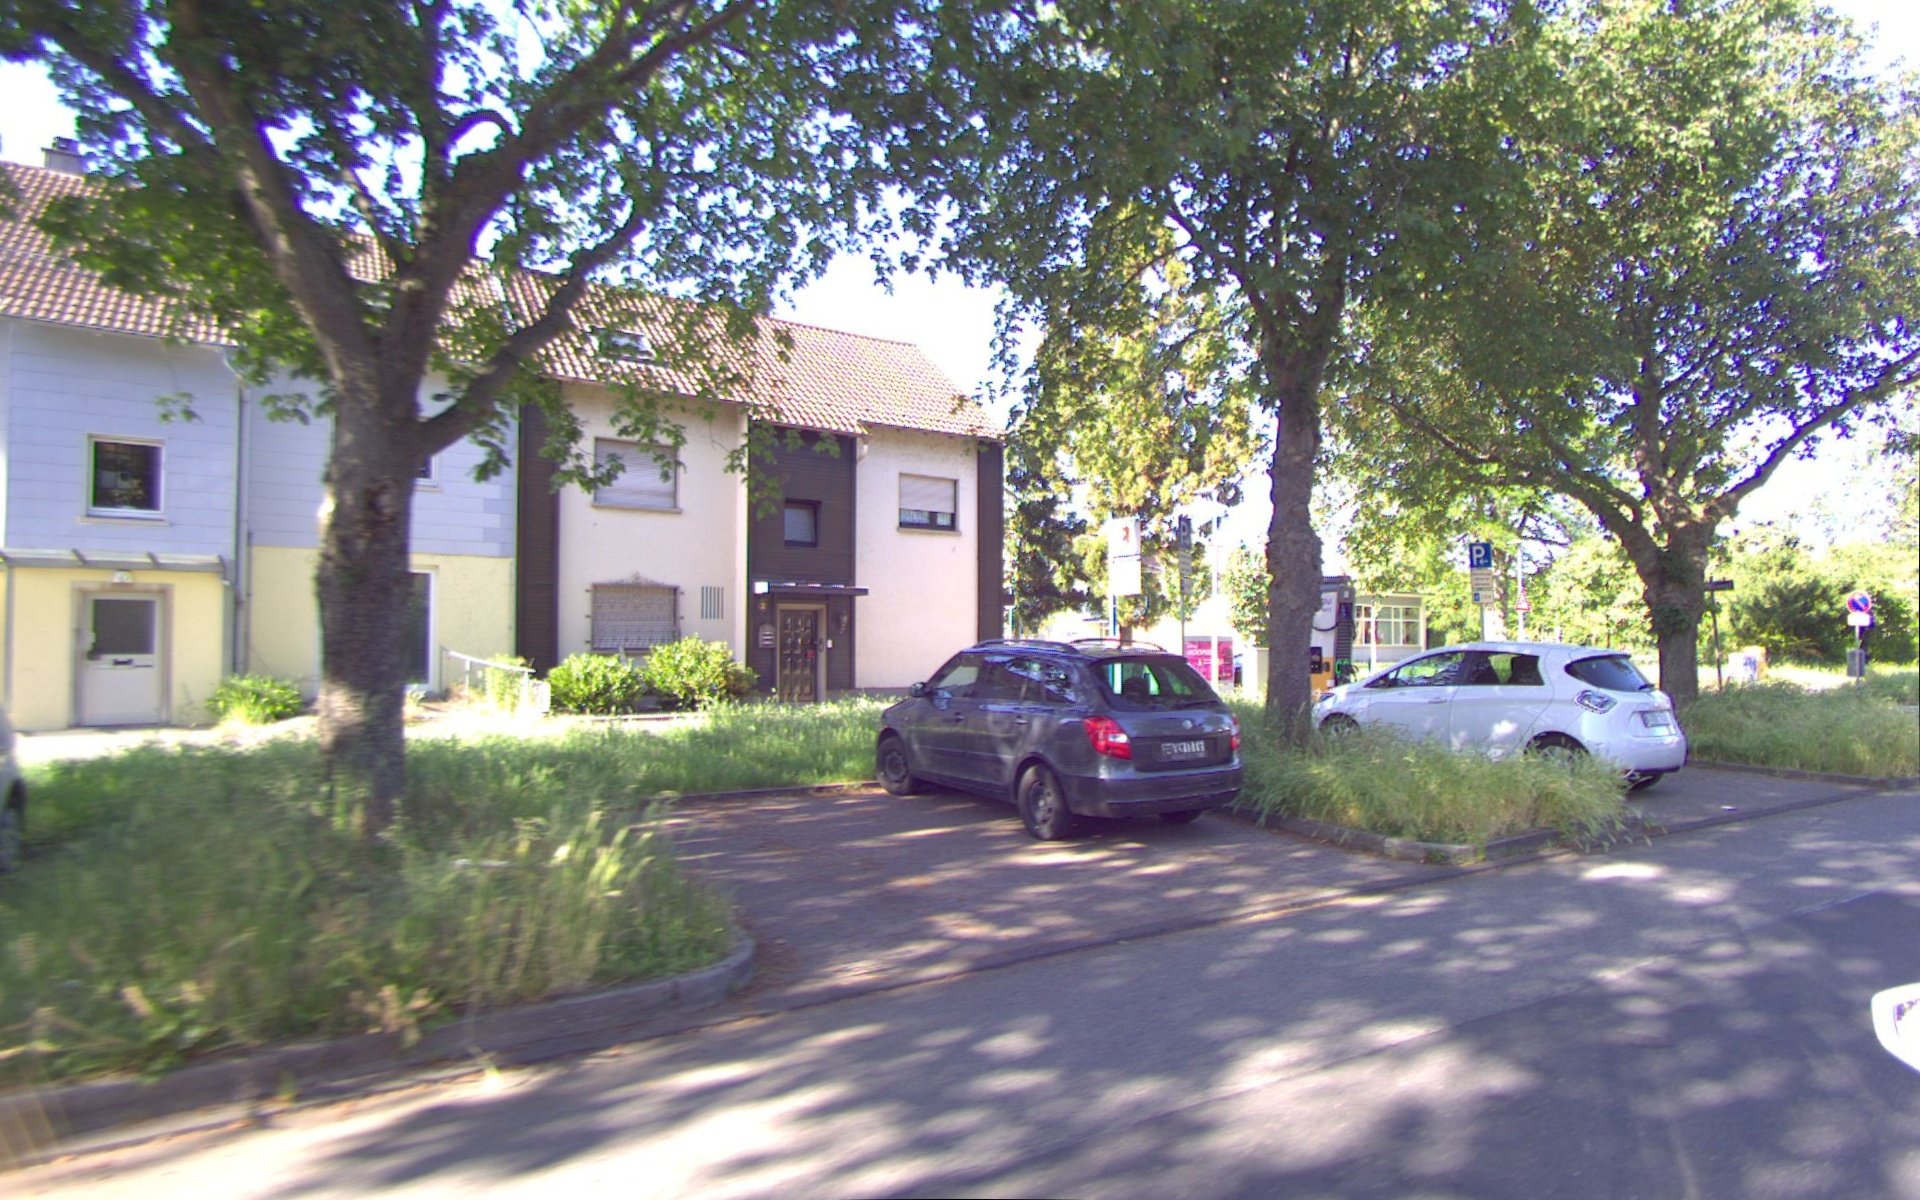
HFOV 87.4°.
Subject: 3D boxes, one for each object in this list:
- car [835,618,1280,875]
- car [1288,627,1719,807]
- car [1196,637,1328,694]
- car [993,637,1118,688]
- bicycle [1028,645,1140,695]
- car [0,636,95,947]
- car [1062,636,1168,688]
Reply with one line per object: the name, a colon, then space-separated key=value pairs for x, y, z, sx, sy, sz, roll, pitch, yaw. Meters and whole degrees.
car: x=0.628 y=1.064 z=9.079 sx=1.978 sy=1.610 sz=3.965 roll=2 pitch=0 yaw=-32
car: x=6.036 y=1.163 z=11.622 sx=1.945 sy=1.682 sz=3.966 roll=1 pitch=-2 yaw=-32
car: x=9.719 y=2.072 z=32.622 sx=1.801 sy=1.737 sz=3.967 roll=2 pitch=-2 yaw=-31
car: x=3.125 y=2.034 z=33.498 sx=1.982 sy=1.385 sz=3.956 roll=2 pitch=0 yaw=-38
bicycle: x=3.291 y=1.775 z=26.107 sx=0.696 sy=1.192 sz=4.035 roll=-2 pitch=-3 yaw=42
car: x=-5.831 y=1.005 z=4.776 sx=1.978 sy=1.478 sz=3.964 roll=2 pitch=0 yaw=-32
car: x=5.896 y=2.327 z=38.535 sx=1.977 sy=1.844 sz=3.967 roll=2 pitch=-2 yaw=-31
